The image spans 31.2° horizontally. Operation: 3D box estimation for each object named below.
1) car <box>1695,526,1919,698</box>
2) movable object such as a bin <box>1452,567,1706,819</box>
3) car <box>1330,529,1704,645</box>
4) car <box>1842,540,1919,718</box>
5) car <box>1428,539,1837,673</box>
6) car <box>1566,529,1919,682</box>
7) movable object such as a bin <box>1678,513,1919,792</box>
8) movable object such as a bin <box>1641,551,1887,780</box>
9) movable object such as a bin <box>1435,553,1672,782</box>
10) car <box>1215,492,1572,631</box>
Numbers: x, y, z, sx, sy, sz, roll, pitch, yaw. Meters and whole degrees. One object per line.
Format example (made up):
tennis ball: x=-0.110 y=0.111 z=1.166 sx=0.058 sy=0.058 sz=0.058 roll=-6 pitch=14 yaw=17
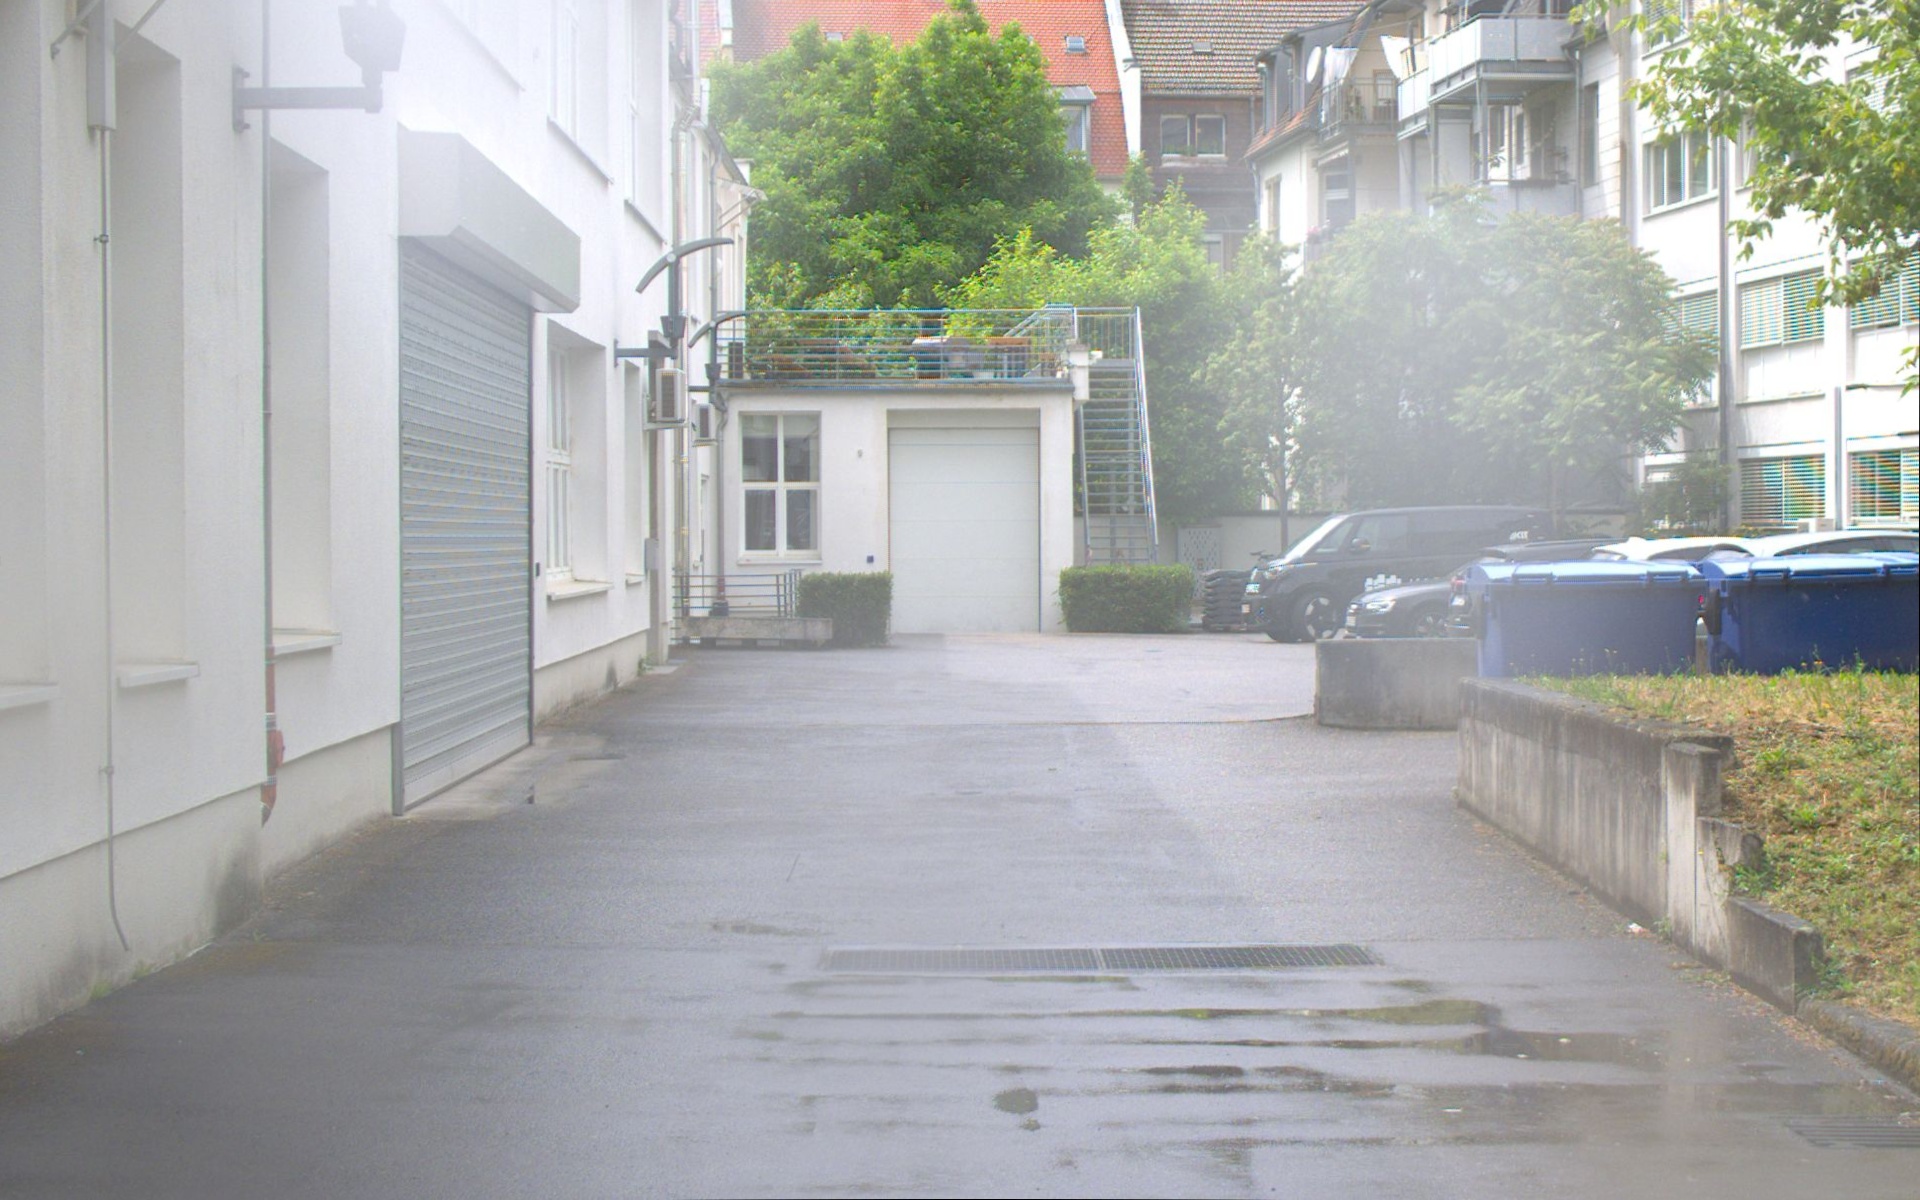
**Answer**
car: x=8.820 y=0.069 z=30.683 sx=4.079 sy=1.453 sz=1.668 roll=-1 pitch=0 yaw=-4
movable object such as a bin: x=3.436 y=0.501 z=19.194 sx=1.174 sy=1.313 sz=1.056 roll=1 pitch=2 yaw=-1
car: x=7.075 y=-0.183 z=43.883 sx=4.352 sy=1.344 sz=1.861 roll=-1 pitch=2 yaw=-7
car: x=9.358 y=0.143 z=27.702 sx=3.987 sy=1.349 sz=1.791 roll=-2 pitch=1 yaw=-1
car: x=7.661 y=0.045 z=39.357 sx=4.169 sy=1.396 sz=1.940 roll=-1 pitch=1 yaw=-7
car: x=8.589 y=0.027 z=35.920 sx=4.097 sy=1.450 sz=1.833 roll=-2 pitch=1 yaw=-5
movable object such as a bin: x=4.785 y=0.275 z=19.180 sx=1.275 sy=1.478 sz=1.102 roll=1 pitch=2 yaw=-1
movable object such as a bin: x=4.886 y=0.383 z=20.972 sx=1.229 sy=1.313 sz=1.056 roll=-1 pitch=2 yaw=-1
movable object such as a bin: x=3.601 y=0.393 z=20.950 sx=1.229 sy=1.313 sz=1.056 roll=-1 pitch=2 yaw=-1
car: x=6.222 y=-0.578 z=49.640 sx=4.708 sy=1.827 sz=2.111 roll=-2 pitch=2 yaw=-7
